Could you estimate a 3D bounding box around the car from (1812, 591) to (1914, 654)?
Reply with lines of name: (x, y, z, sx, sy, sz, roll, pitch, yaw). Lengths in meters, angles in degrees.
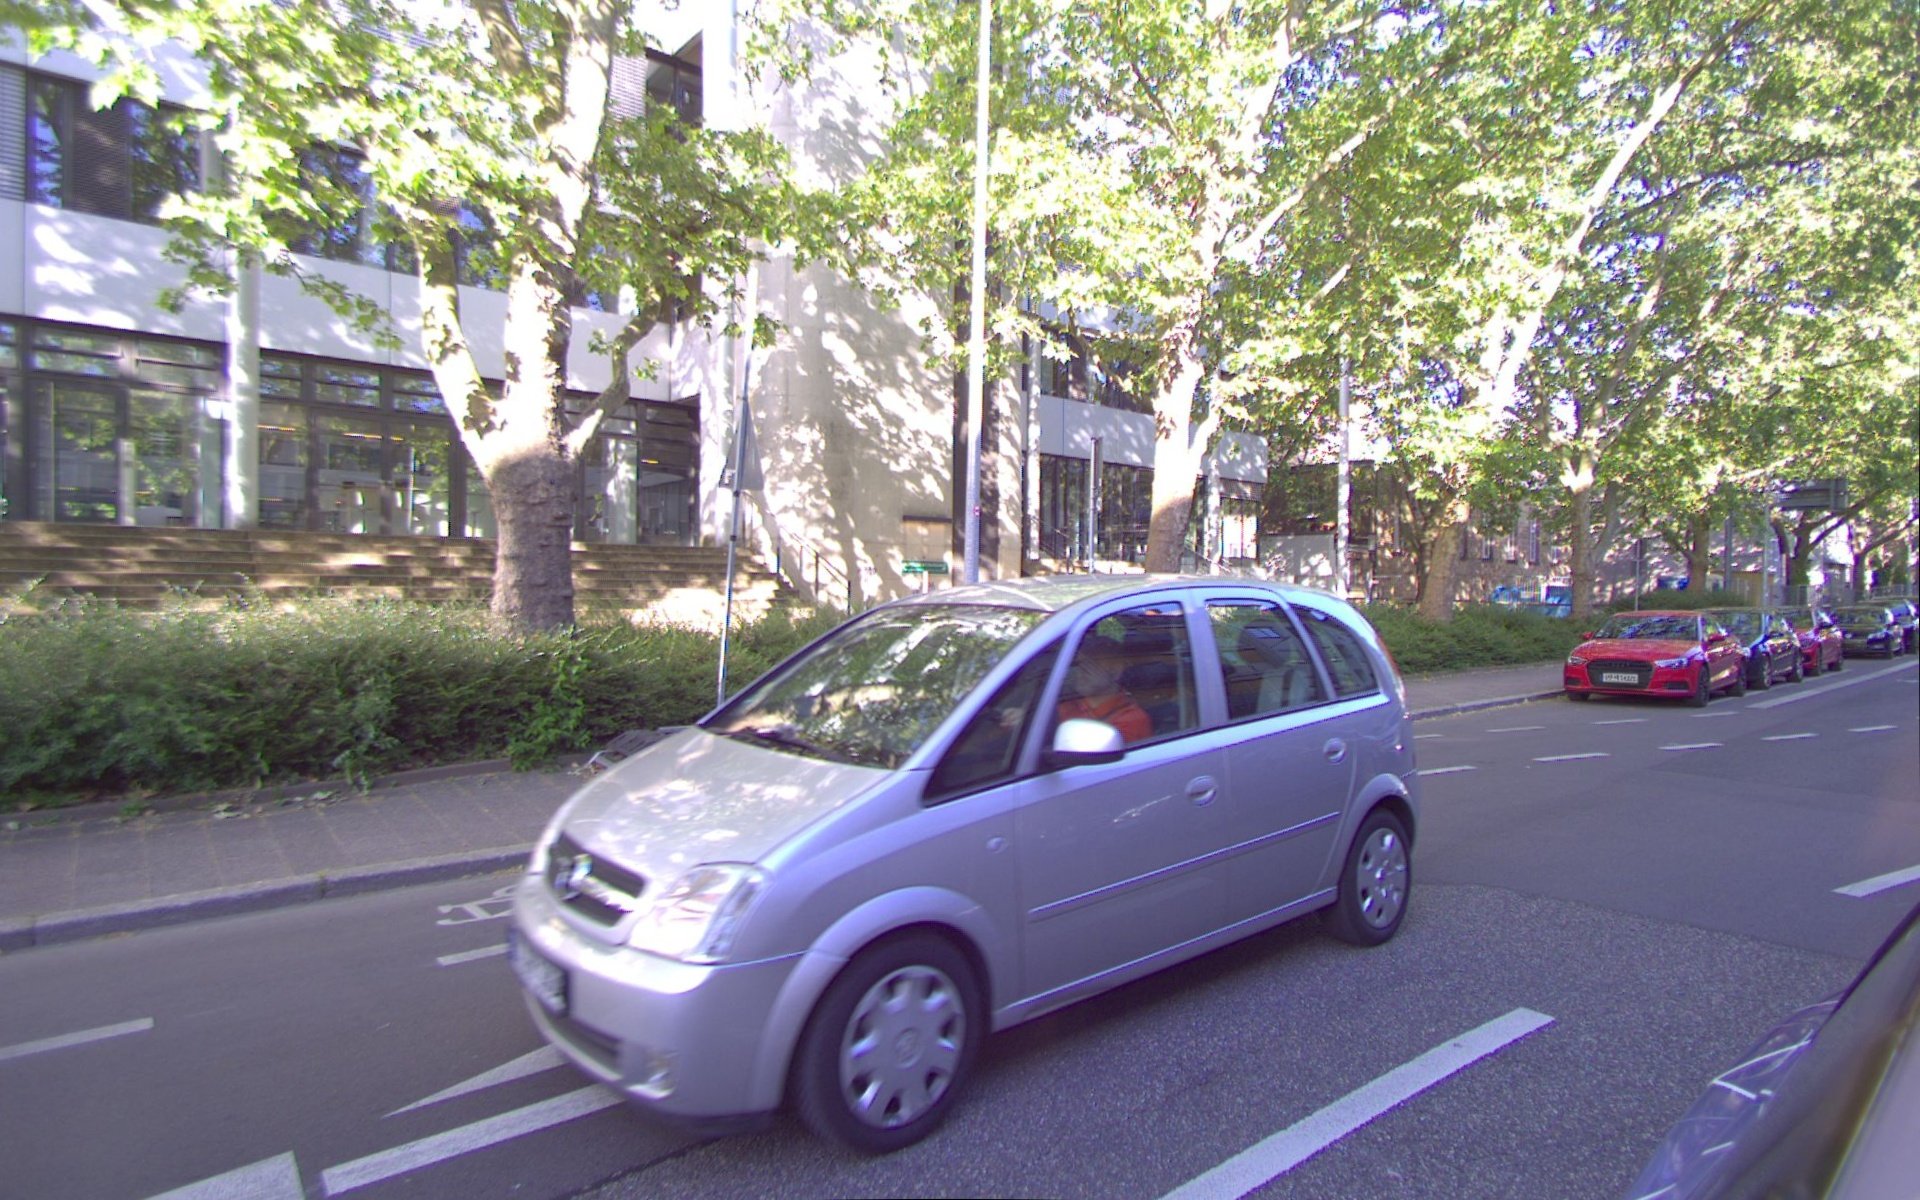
car: (25.848, 0.585, 28.937, 4.022, 1.653, 1.739, 0, 1, -42)

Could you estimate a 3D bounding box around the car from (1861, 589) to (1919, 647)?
car: (29.708, 0.519, 31.818, 3.840, 1.708, 1.633, 0, 1, -42)

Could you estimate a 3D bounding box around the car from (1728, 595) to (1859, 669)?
car: (18.620, 0.661, 22.555, 3.851, 1.511, 1.679, 0, -1, -42)

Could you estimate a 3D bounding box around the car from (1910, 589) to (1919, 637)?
car: (38.759, 0.501, 39.796, 3.829, 1.818, 1.739, 0, 1, -42)

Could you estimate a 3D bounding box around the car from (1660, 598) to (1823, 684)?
car: (14.941, 0.711, 19.277, 4.022, 1.472, 1.739, 0, -1, -42)

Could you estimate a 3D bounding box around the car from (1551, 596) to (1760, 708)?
car: (11.177, 0.737, 16.170, 4.071, 1.548, 1.827, 0, -1, -42)

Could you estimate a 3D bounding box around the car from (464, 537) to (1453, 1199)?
car: (0.248, 0.658, 4.101, 3.790, 1.623, 1.705, 0, 0, -39)
